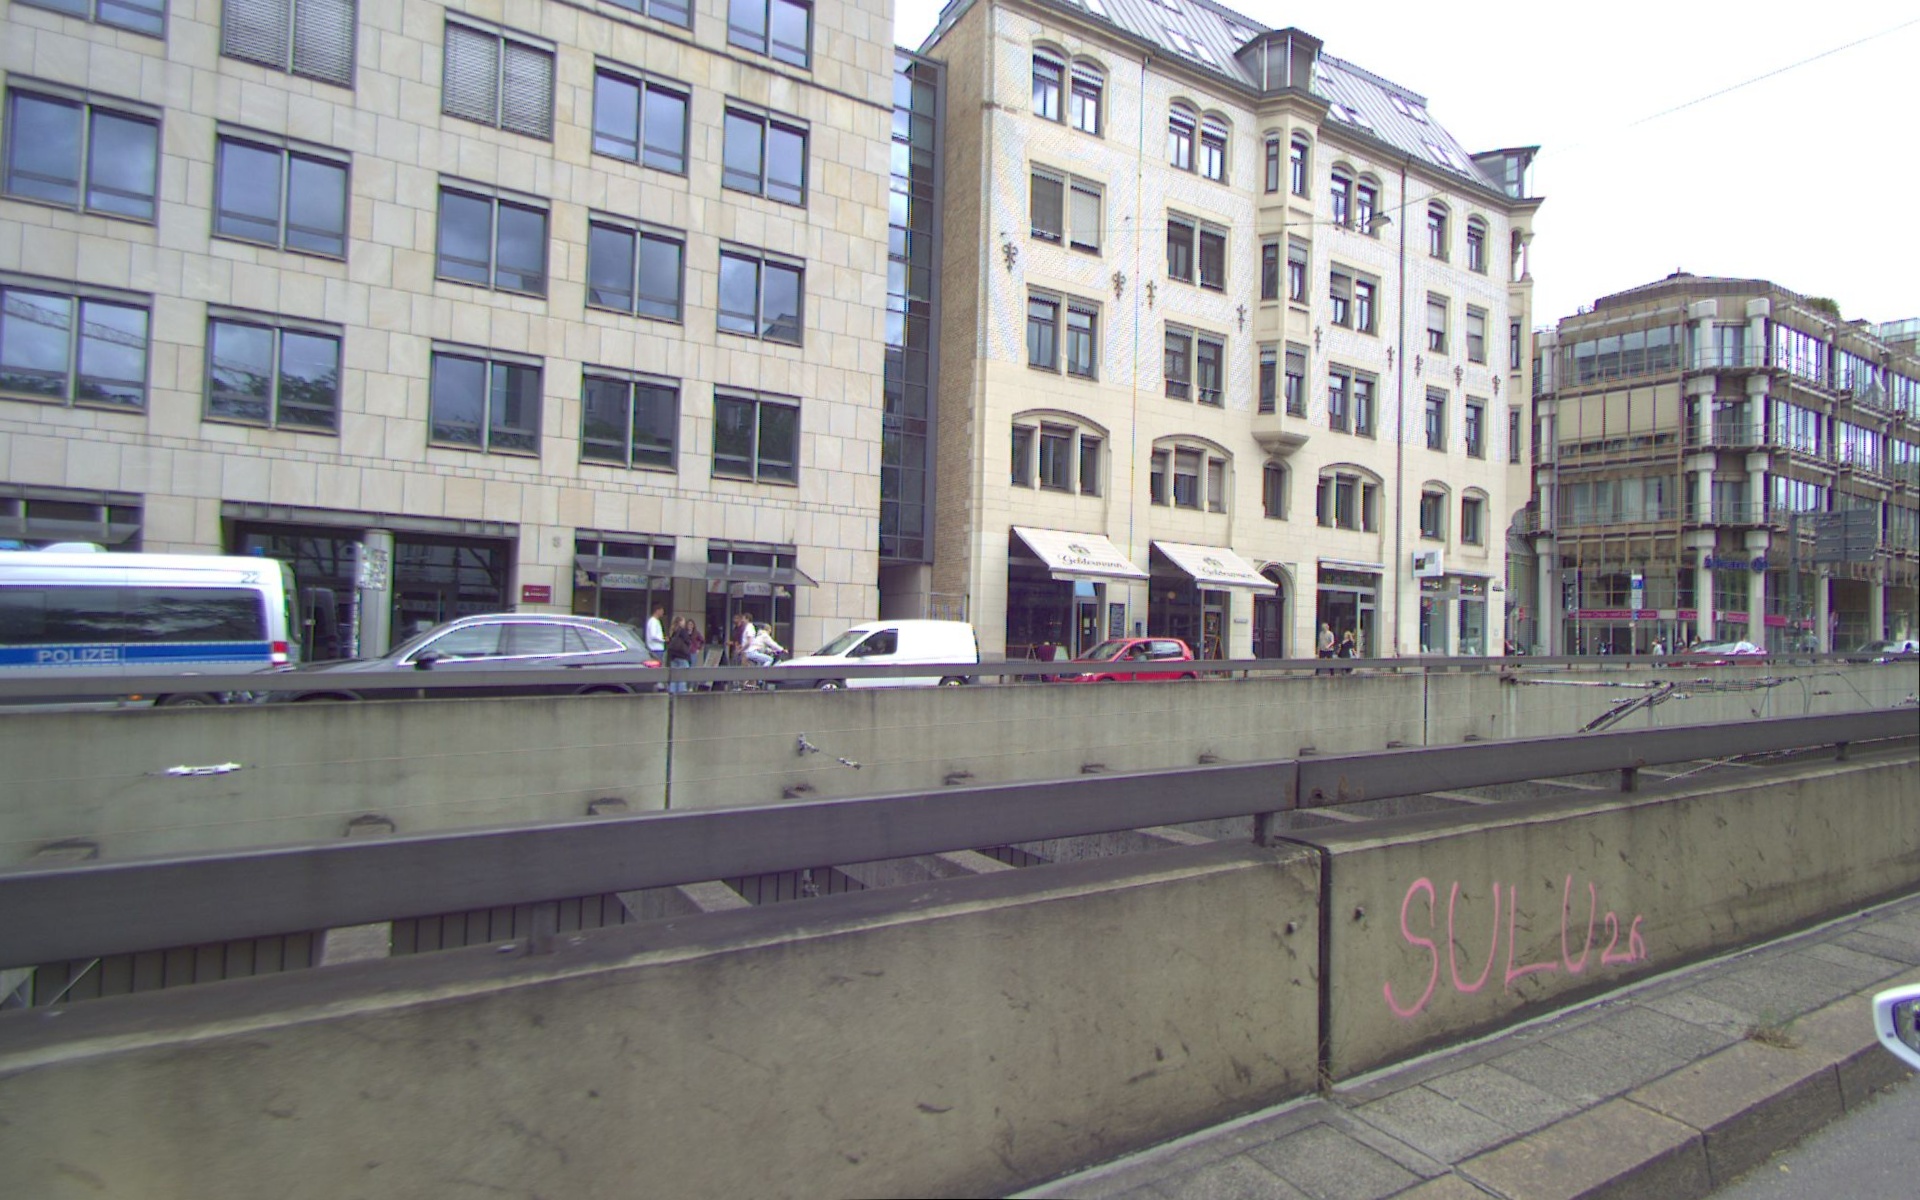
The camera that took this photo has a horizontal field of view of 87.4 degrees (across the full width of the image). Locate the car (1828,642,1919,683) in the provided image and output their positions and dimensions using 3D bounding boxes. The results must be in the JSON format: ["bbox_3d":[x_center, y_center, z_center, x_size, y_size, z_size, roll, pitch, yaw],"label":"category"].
[{"bbox_3d":[38.919,2.589,42.302,4.826,1.606,1.986,1,-2,-28],"label":"car"}]

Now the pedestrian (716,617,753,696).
[{"bbox_3d":[-5.175,1.273,23.016,0.672,1.776,0.549,1,-1,-31],"label":"pedestrian"}]

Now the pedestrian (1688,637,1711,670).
[{"bbox_3d":[34.979,2.524,47.517,0.839,1.564,0.695,1,-2,-38],"label":"pedestrian"}]

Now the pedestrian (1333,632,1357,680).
[{"bbox_3d":[12.565,1.821,32.792,0.576,1.558,0.478,1,-2,-27],"label":"pedestrian"}]

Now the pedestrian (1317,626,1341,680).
[{"bbox_3d":[12.222,1.749,33.291,0.576,1.780,0.477,1,-2,-29],"label":"pedestrian"}]

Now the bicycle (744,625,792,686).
[{"bbox_3d":[-4.126,1.186,21.597,0.836,1.277,0.628,1,-2,-33],"label":"bicycle"}]

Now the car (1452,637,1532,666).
[{"bbox_3d":[28.118,2.721,53.169,1.630,1.455,3.429,1,-2,-30],"label":"car"}]

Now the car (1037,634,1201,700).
[{"bbox_3d":[3.773,1.534,23.702,3.543,1.424,1.778,1,-2,-32],"label":"car"}]

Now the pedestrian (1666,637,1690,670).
[{"bbox_3d":[34.460,2.545,48.209,0.839,1.564,0.695,1,-2,-38],"label":"pedestrian"}]

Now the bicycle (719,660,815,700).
[{"bbox_3d":[-4.133,1.700,21.577,1.938,0.772,0.628,2,-2,-34],"label":"bicycle"}]

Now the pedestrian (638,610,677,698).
[{"bbox_3d":[-6.645,1.174,22.034,0.672,1.899,0.613,1,-1,-31],"label":"pedestrian"}]

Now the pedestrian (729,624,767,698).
[{"bbox_3d":[-4.698,1.345,22.301,0.672,1.597,0.549,1,-1,-31],"label":"pedestrian"}]

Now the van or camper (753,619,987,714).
[{"bbox_3d":[-1.802,1.296,20.575,4.436,1.775,1.858,1,-2,-31],"label":"van or camper"}]

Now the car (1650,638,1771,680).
[{"bbox_3d":[28.449,2.197,38.041,4.829,1.484,1.984,1,-2,-31],"label":"car"}]

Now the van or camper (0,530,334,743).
[{"bbox_3d":[-12.825,0.514,14.563,6.172,2.762,2.988,1,-2,-30],"label":"van or camper"}]

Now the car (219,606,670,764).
[{"bbox_3d":[-5.979,0.899,11.956,4.498,1.547,1.905,2,-2,-36],"label":"car"}]

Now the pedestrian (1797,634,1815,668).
[{"bbox_3d":[45.153,2.718,53.621,0.686,1.817,0.530,1,0,-29],"label":"pedestrian"}]

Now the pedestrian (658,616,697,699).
[{"bbox_3d":[-6.043,1.221,21.467,0.672,1.740,0.552,1,-1,-30],"label":"pedestrian"}]

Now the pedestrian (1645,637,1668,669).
[{"bbox_3d":[33.933,2.571,48.910,0.839,1.564,0.695,1,-2,-38],"label":"pedestrian"}]
